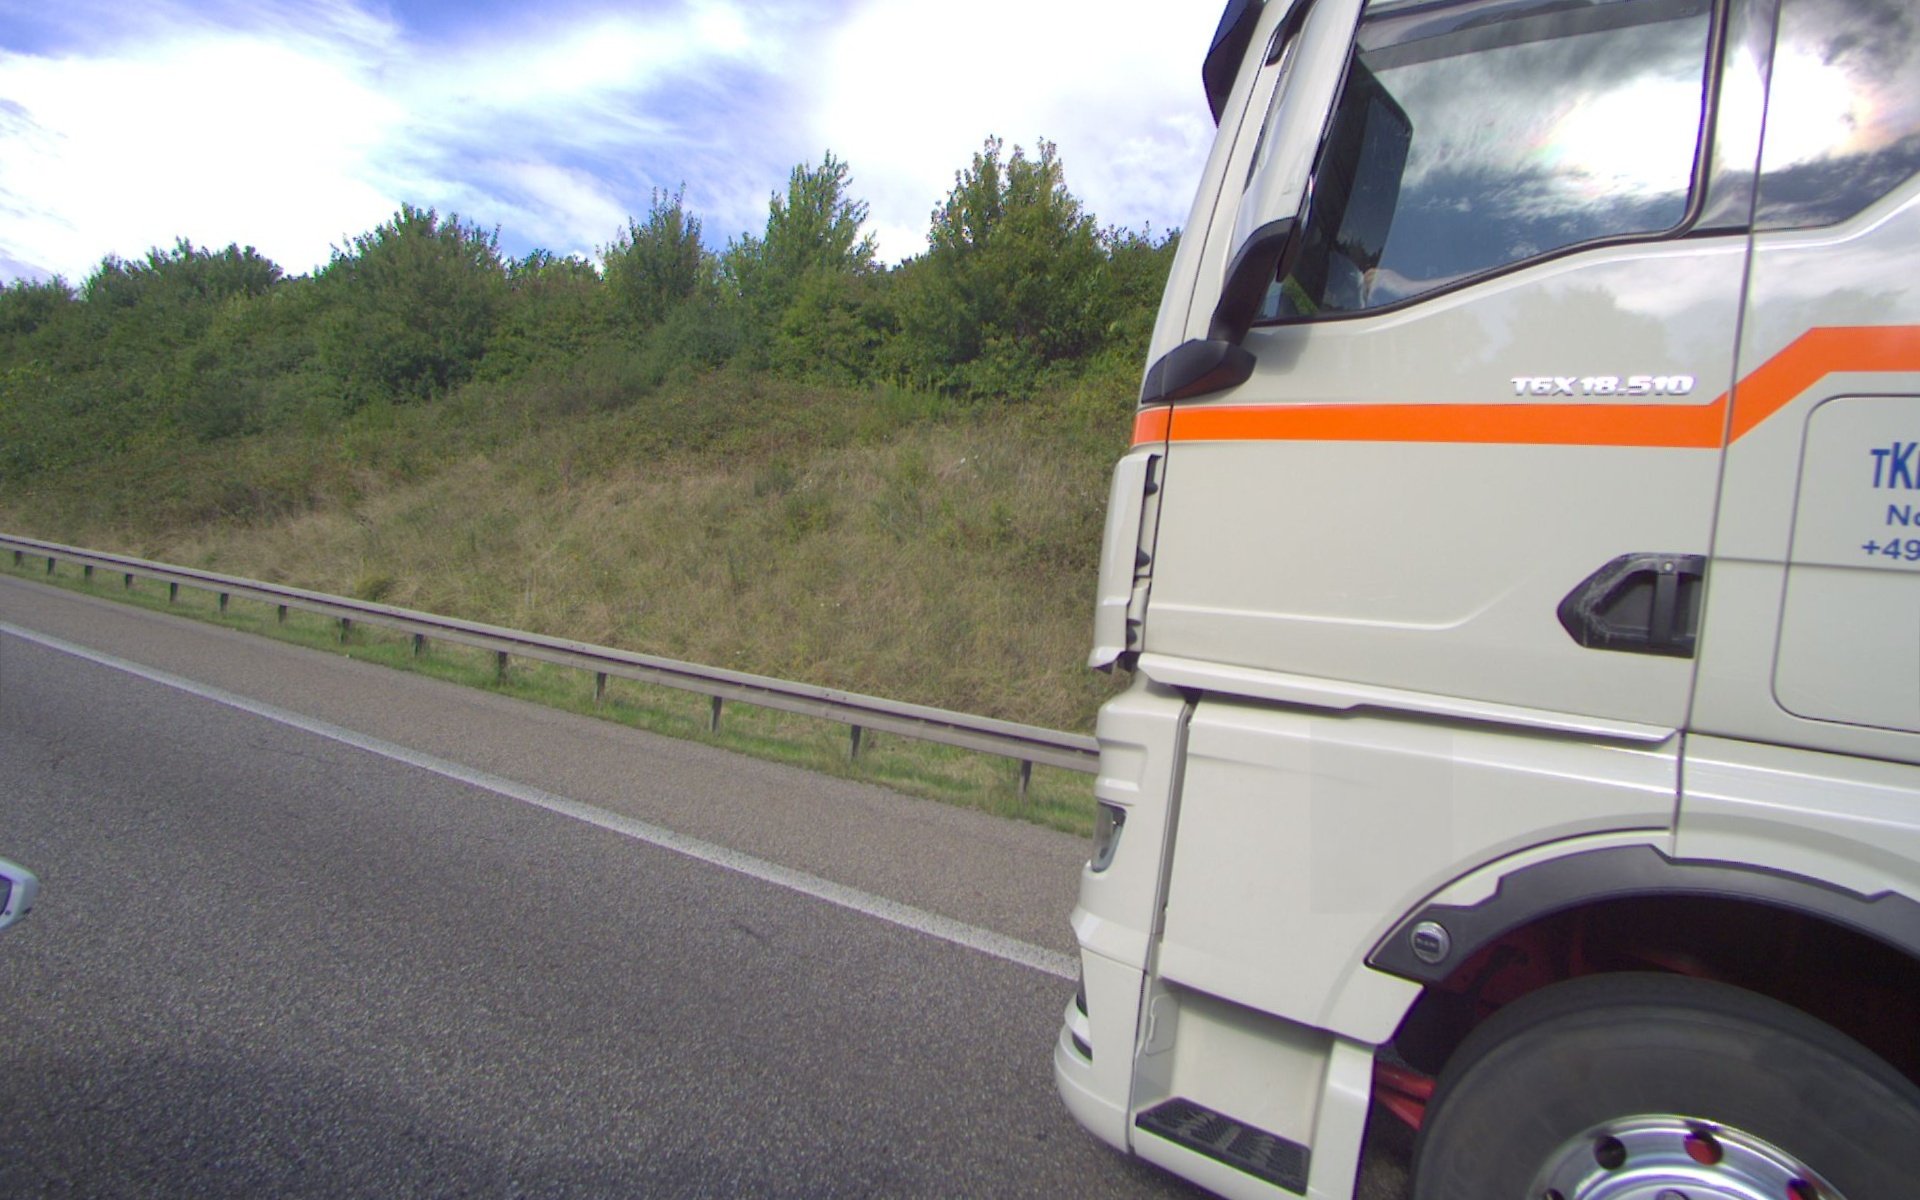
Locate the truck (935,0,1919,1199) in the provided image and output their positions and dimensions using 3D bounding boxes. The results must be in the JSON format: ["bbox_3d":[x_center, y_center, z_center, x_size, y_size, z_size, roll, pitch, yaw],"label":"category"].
[{"bbox_3d":[3.341,-0.126,2.089,5.807,4.091,2.807,7,-1,32],"label":"truck"}]
